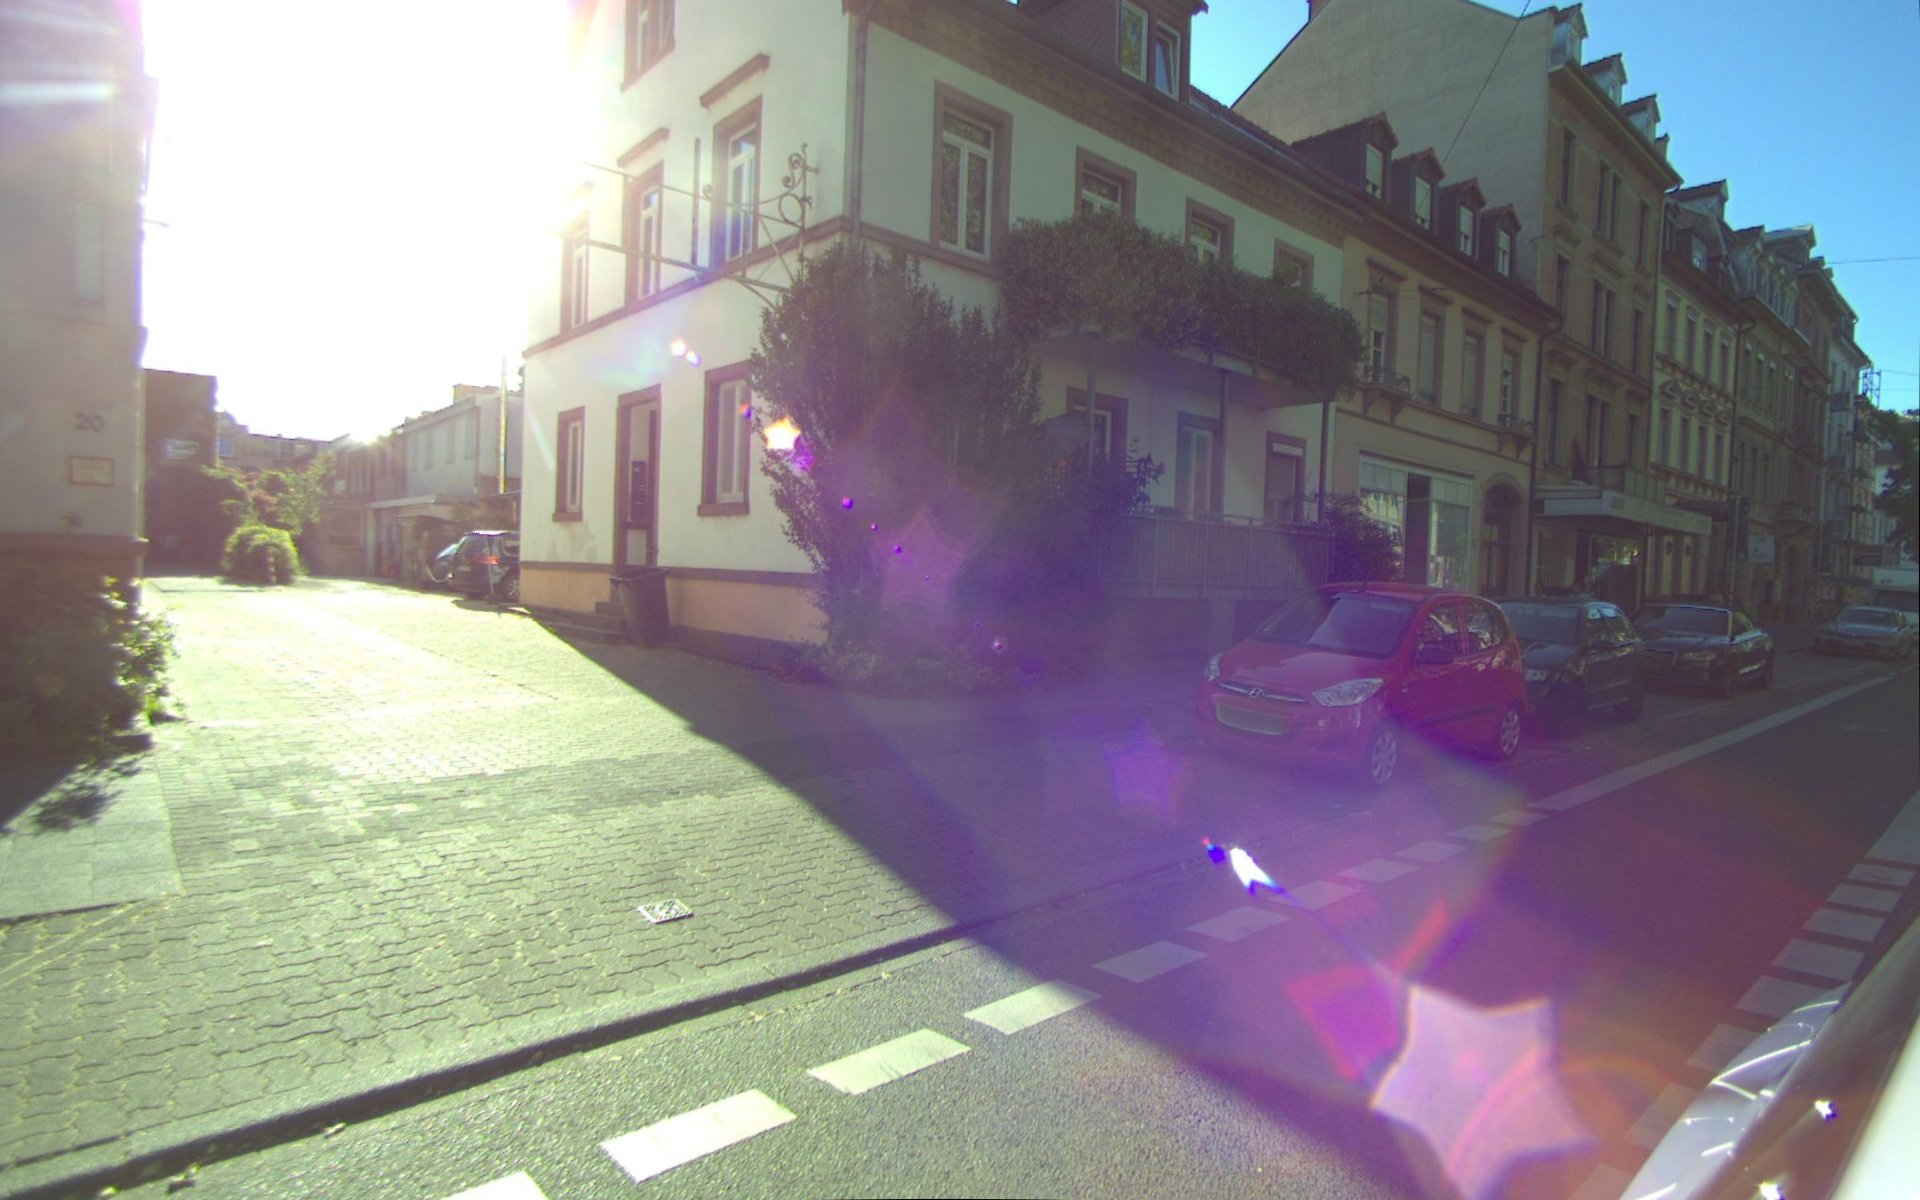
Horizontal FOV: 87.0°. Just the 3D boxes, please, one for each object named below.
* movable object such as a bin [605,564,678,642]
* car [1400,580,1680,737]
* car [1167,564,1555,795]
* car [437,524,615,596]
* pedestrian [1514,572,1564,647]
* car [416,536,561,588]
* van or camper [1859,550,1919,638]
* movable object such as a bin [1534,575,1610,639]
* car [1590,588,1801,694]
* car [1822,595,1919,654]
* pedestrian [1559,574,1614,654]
[{"bbox_3d":[-4.520,0.028,14.373,0.781,1.039,0.629,-3,4,-43],"label":"movable object such as a bin"},{"bbox_3d":[6.921,0.566,11.937,3.801,1.474,1.654,0,4,-41],"label":"car"},{"bbox_3d":[3.615,0.541,8.891,3.512,1.565,1.639,0,3,-40],"label":"car"},{"bbox_3d":[-10.173,-0.923,23.837,3.514,1.565,1.622,0,4,-42],"label":"car"},{"bbox_3d":[11.984,0.186,20.947,0.772,1.501,0.659,0,2,-42],"label":"pedestrian"},{"bbox_3d":[-13.229,-1.066,28.461,3.388,1.318,1.578,0,3,-40],"label":"car"},{"bbox_3d":[36.849,-0.192,38.576,7.743,3.006,2.485,0,6,-40],"label":"van or camper"},{"bbox_3d":[15.569,0.165,25.764,1.264,1.539,1.296,0,2,-41],"label":"movable object such as a bin"},{"bbox_3d":[12.037,0.582,16.456,4.414,1.409,1.698,0,4,-40],"label":"car"},{"bbox_3d":[26.333,0.631,28.982,4.584,1.452,1.813,0,4,-42],"label":"car"},{"bbox_3d":[12.513,0.268,20.213,0.851,1.523,0.661,0,3,-42],"label":"pedestrian"}]
